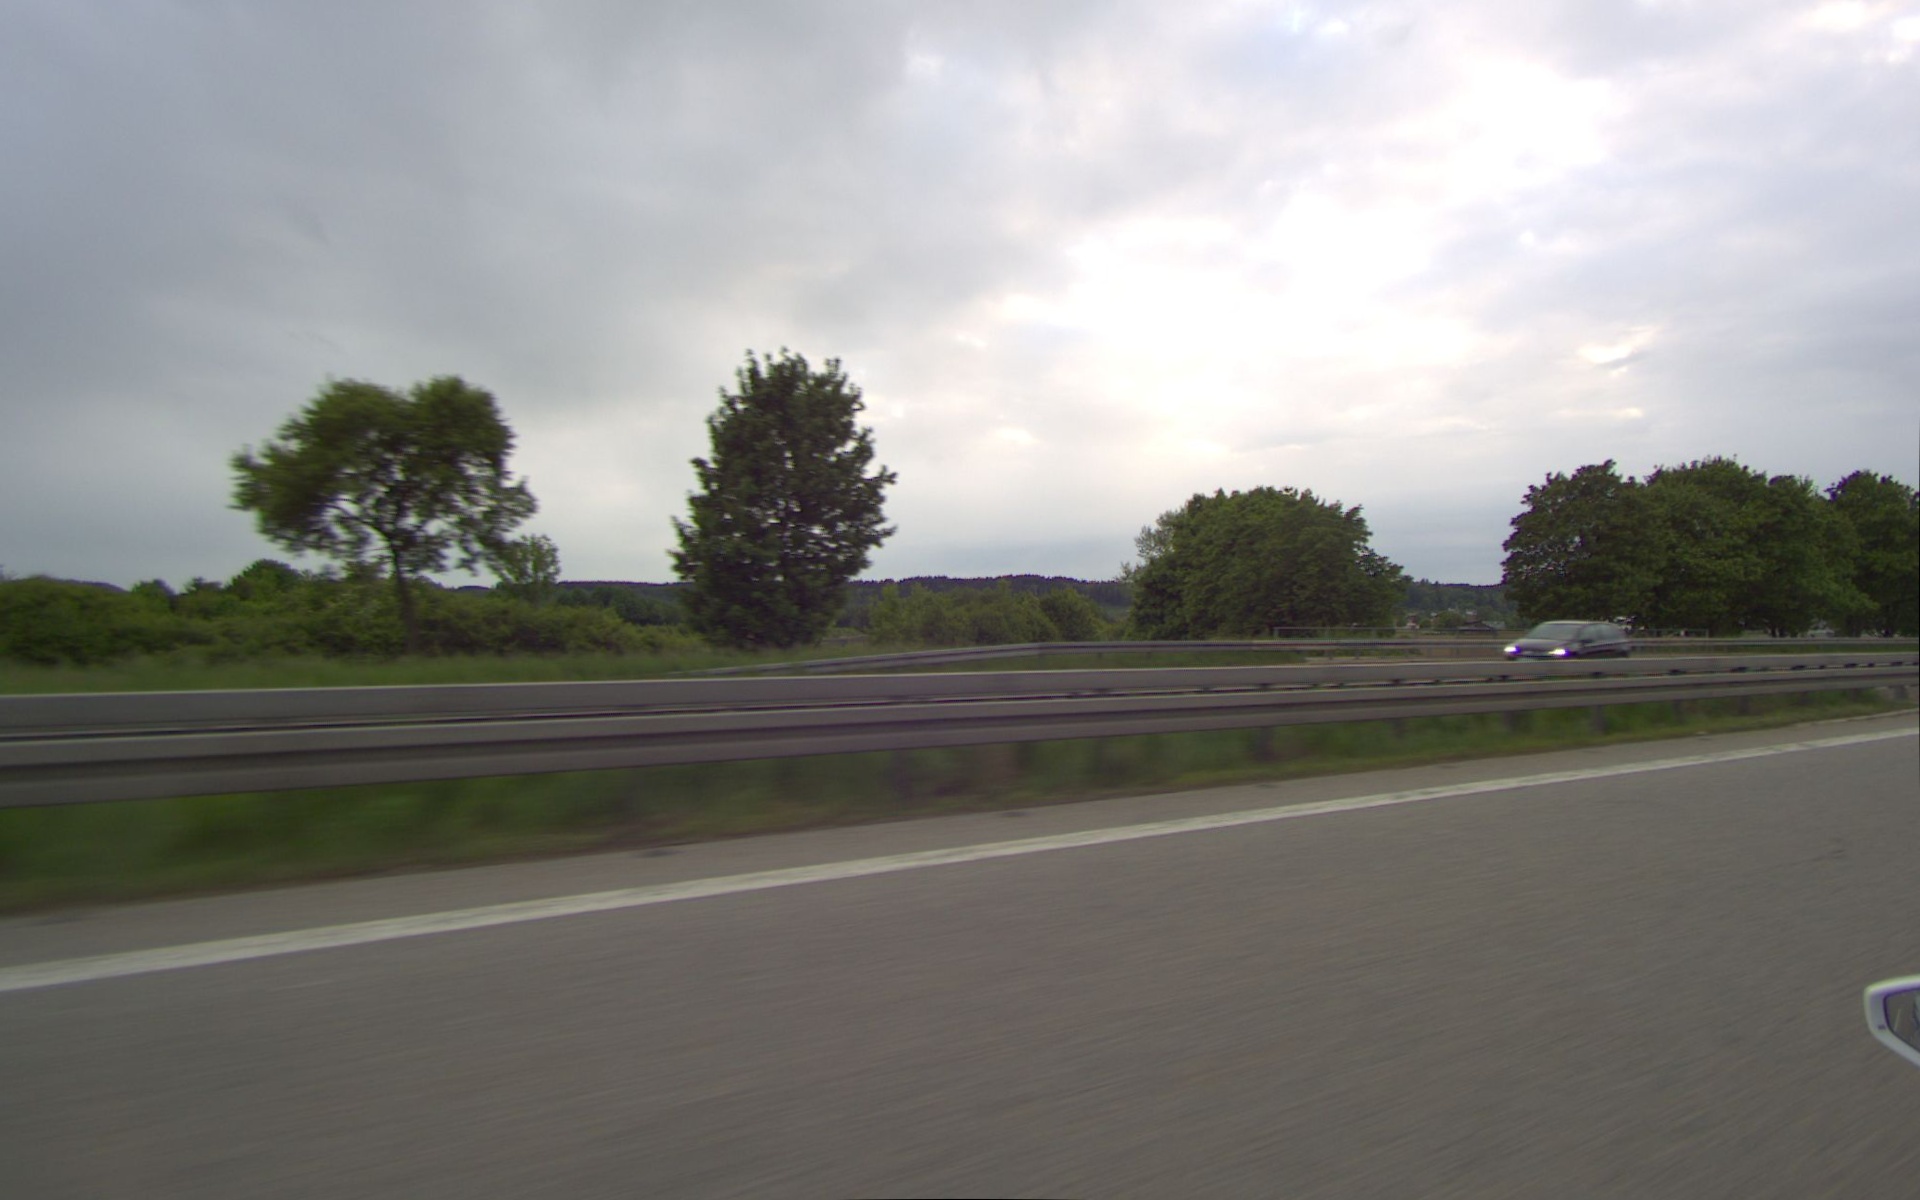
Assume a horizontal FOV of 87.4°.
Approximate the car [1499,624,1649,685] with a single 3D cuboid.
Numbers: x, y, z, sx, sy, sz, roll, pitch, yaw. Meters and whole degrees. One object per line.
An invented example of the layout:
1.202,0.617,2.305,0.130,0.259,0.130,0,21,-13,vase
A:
17.922,1.563,29.284,4.472,1.583,1.808,2,1,-31,car
